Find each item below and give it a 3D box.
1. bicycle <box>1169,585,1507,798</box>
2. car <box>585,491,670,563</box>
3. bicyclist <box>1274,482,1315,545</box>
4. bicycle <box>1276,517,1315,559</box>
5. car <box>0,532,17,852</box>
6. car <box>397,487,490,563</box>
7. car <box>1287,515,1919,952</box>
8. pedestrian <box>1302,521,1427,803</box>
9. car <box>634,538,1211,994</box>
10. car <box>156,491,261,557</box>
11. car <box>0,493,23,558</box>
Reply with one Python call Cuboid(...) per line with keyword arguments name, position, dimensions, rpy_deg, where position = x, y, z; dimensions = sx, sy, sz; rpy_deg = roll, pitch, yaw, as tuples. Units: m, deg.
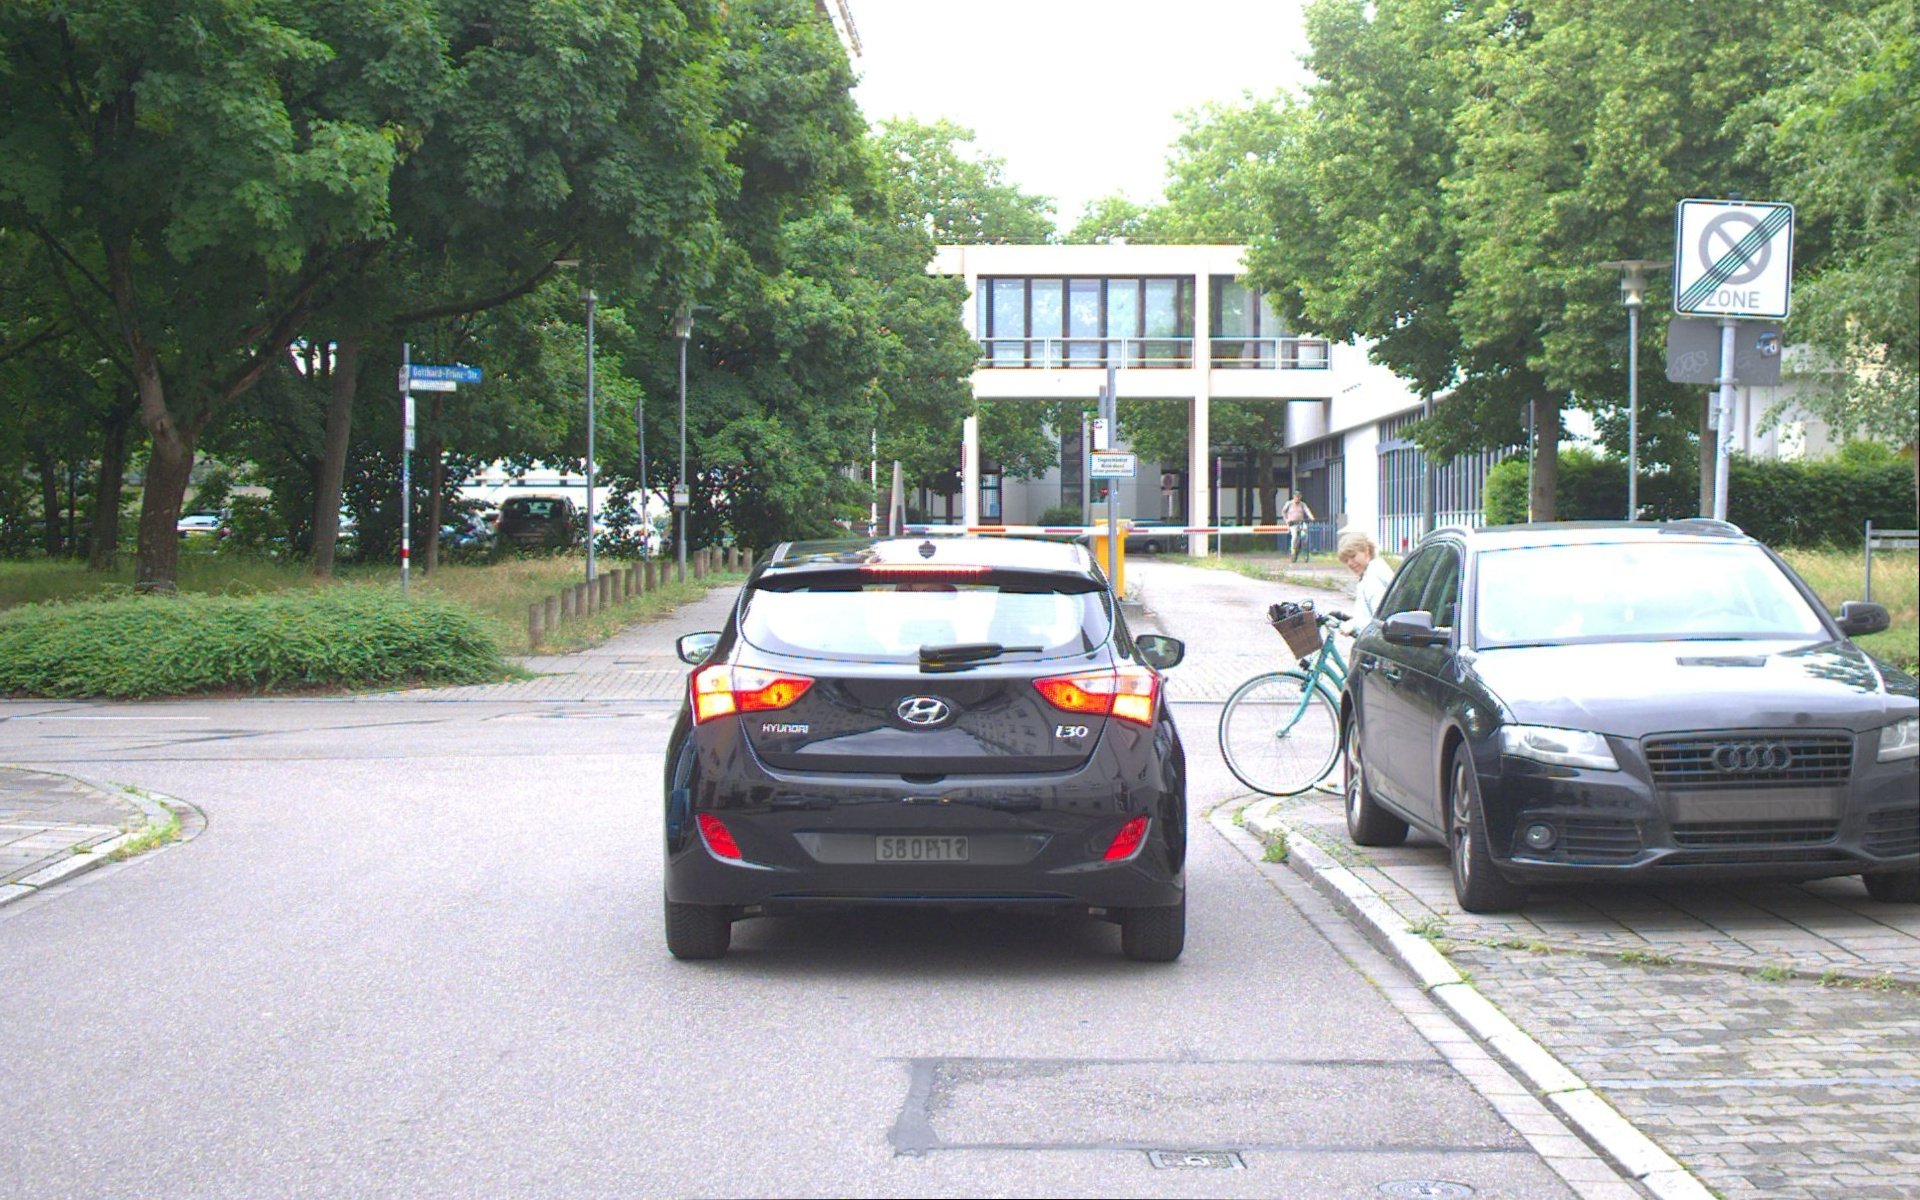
Cuboid(name="bicycle", position=(2.150, 0.511, 19.634), dimensions=(1.812, 1.115, 0.538), rpy_deg=(-2, 2, -8))
Cuboid(name="car", position=(-8.291, -1.812, 86.001), dimensions=(1.993, 1.756, 4.001), rpy_deg=(0, 1, -4))
Cuboid(name="bicyclist", position=(8.865, -2.296, 91.153), dimensions=(1.017, 1.639, 0.923), rpy_deg=(0, 2, 1))
Cuboid(name="bicycle", position=(8.898, -1.650, 91.210), dimensions=(0.866, 1.071, 2.142), rpy_deg=(0, 2, 1))
Cuboid(name="car", position=(-5.199, 0.438, 13.811), dimensions=(1.730, 1.457, 3.957), rpy_deg=(2, 2, -1))
Cuboid(name="car", position=(-12.887, -1.855, 85.976), dimensions=(1.993, 1.788, 4.000), rpy_deg=(0, 0, -4))
Cuboid(name="car", position=(2.588, 0.397, 14.111), dimensions=(1.860, 1.457, 4.726), rpy_deg=(-1, 2, -2))
Cuboid(name="pedestrian", position=(2.260, 0.338, 19.243), dimensions=(0.566, 1.544, 0.448), rpy_deg=(-2, 2, -7))
Cuboid(name="car", position=(-0.196, 0.504, 12.982), dimensions=(1.846, 1.457, 3.828), rpy_deg=(0, 1, -2))
Cuboid(name="car", position=(-18.715, -1.904, 85.763), dimensions=(1.993, 1.612, 4.001), rpy_deg=(0, 1, -4))
Cuboid(name="car", position=(-24.922, -1.874, 86.342), dimensions=(1.917, 1.612, 4.001), rpy_deg=(0, 1, -4))
